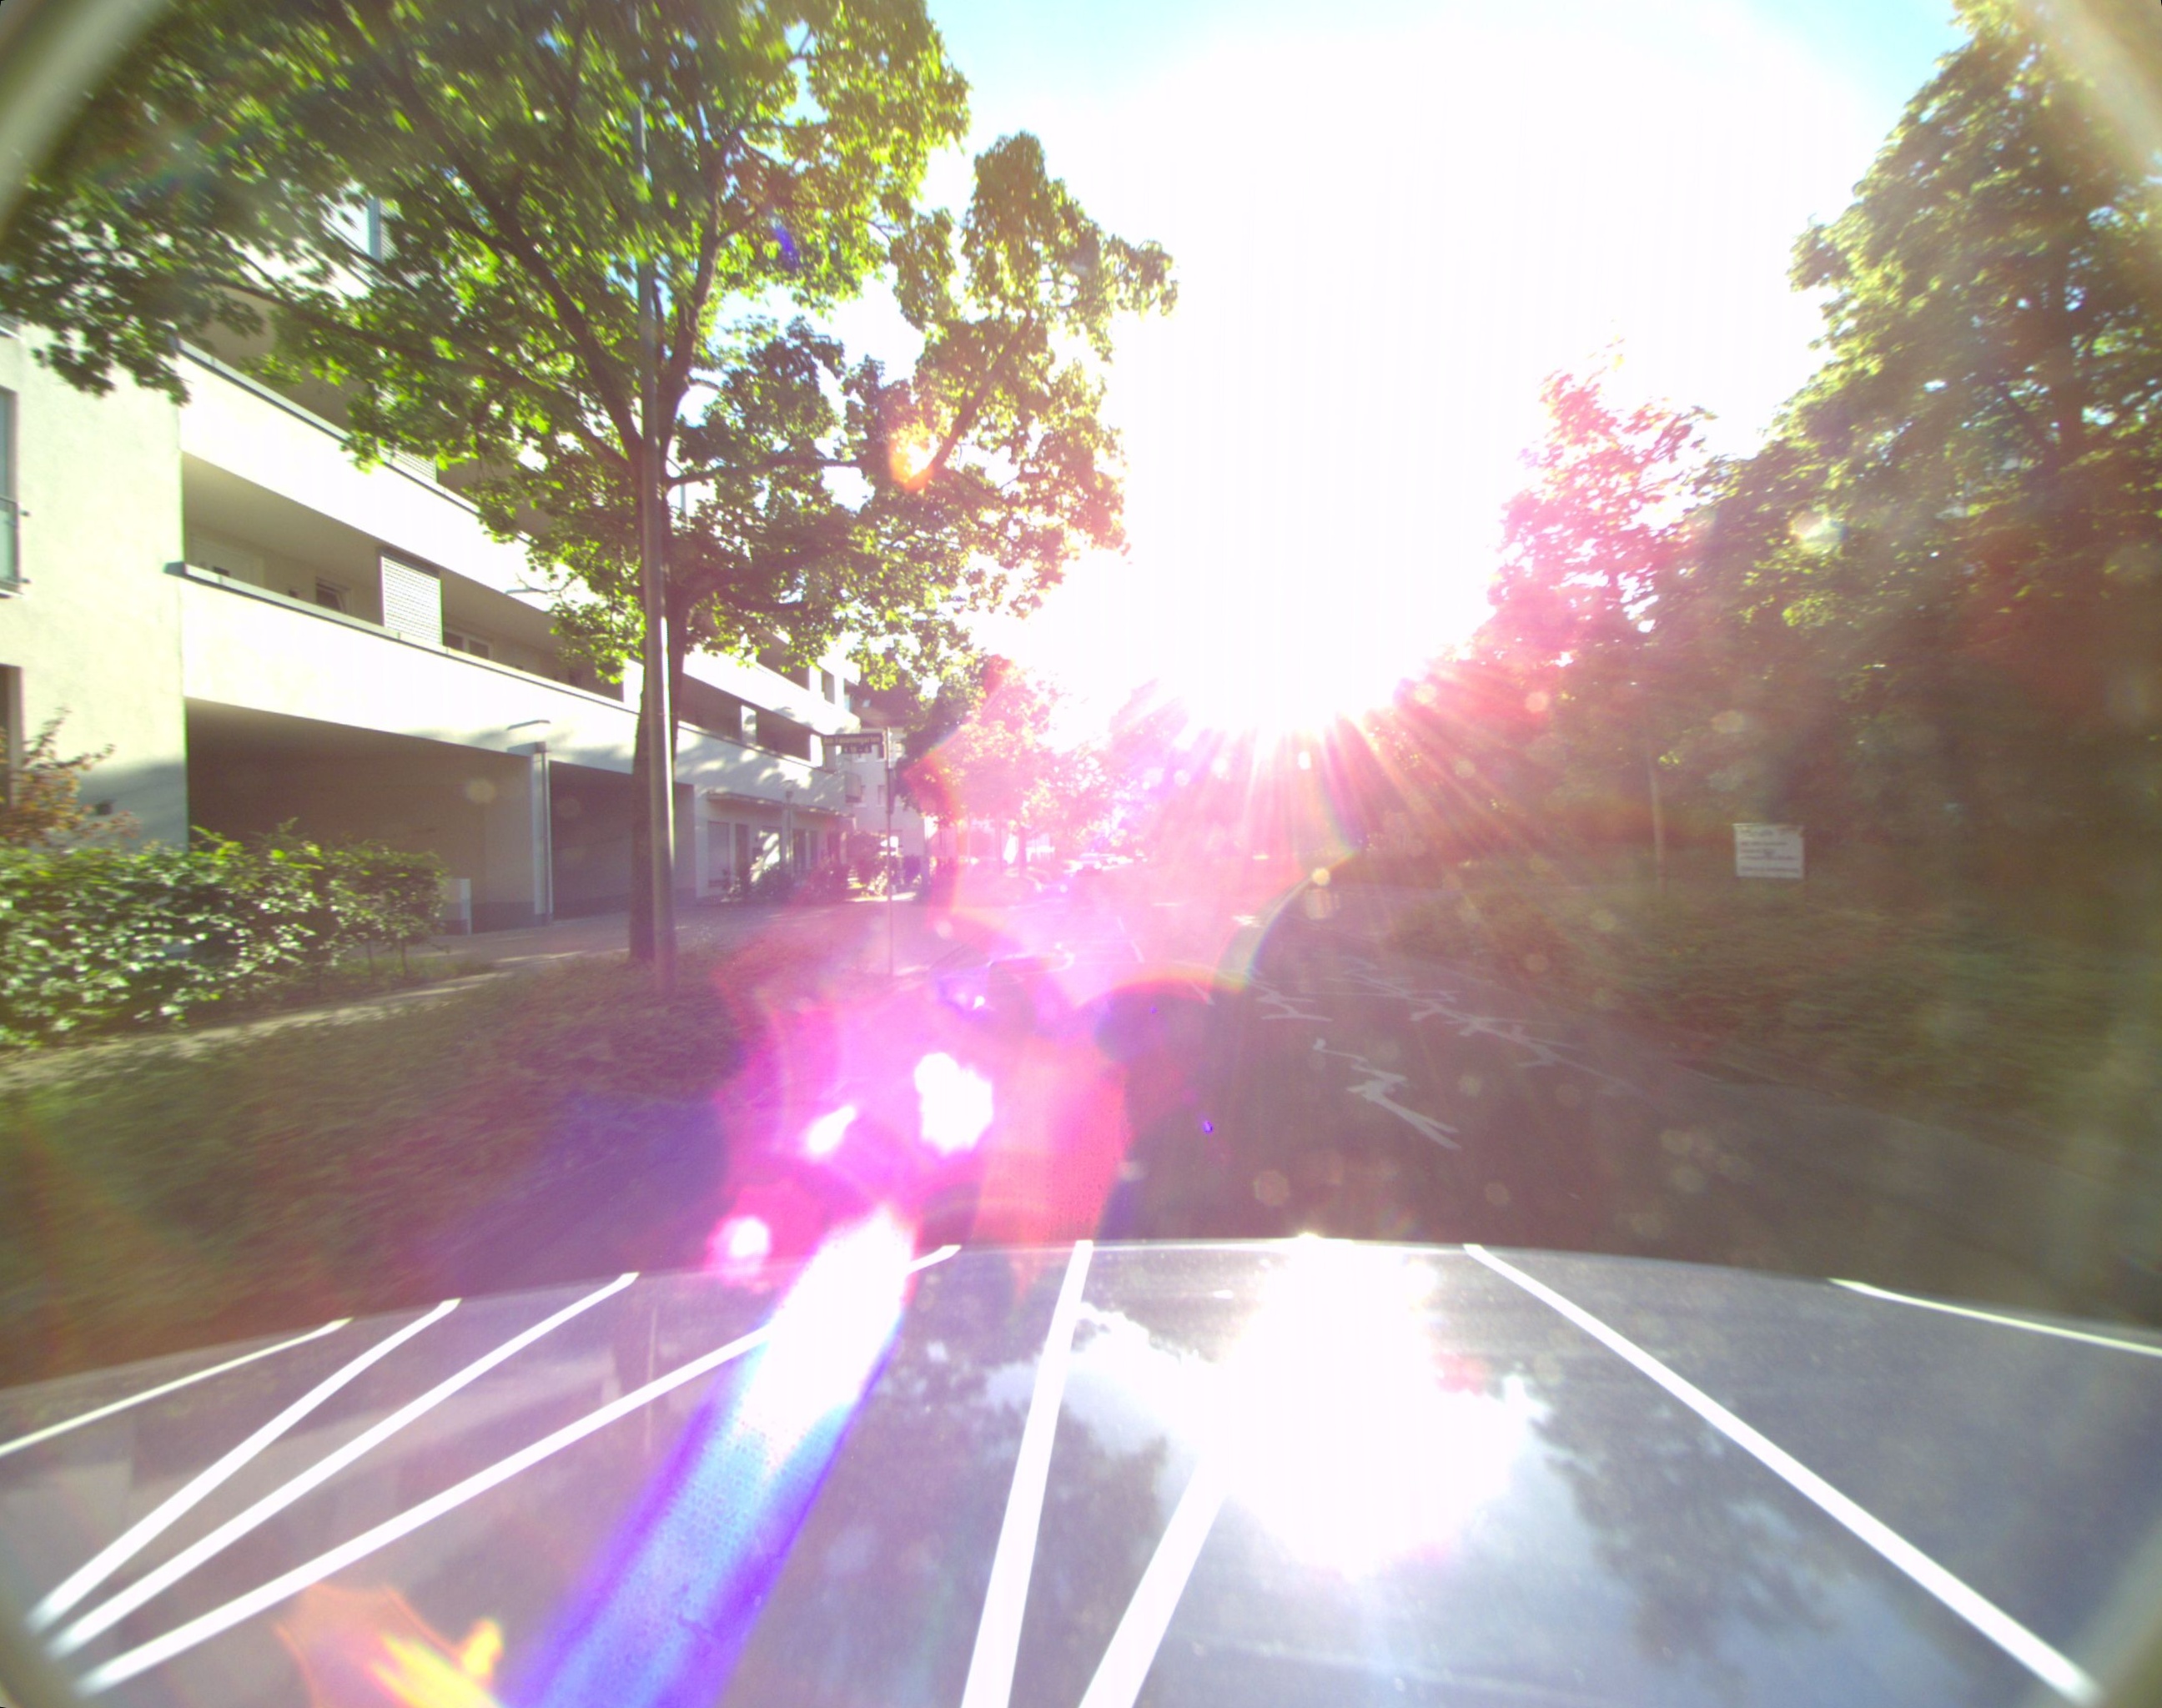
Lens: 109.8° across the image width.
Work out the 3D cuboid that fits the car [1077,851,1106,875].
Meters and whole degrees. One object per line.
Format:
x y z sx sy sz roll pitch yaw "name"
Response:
0.733 0.602 55.416 1.889 1.612 4.618 -2 1 -1 "car"
